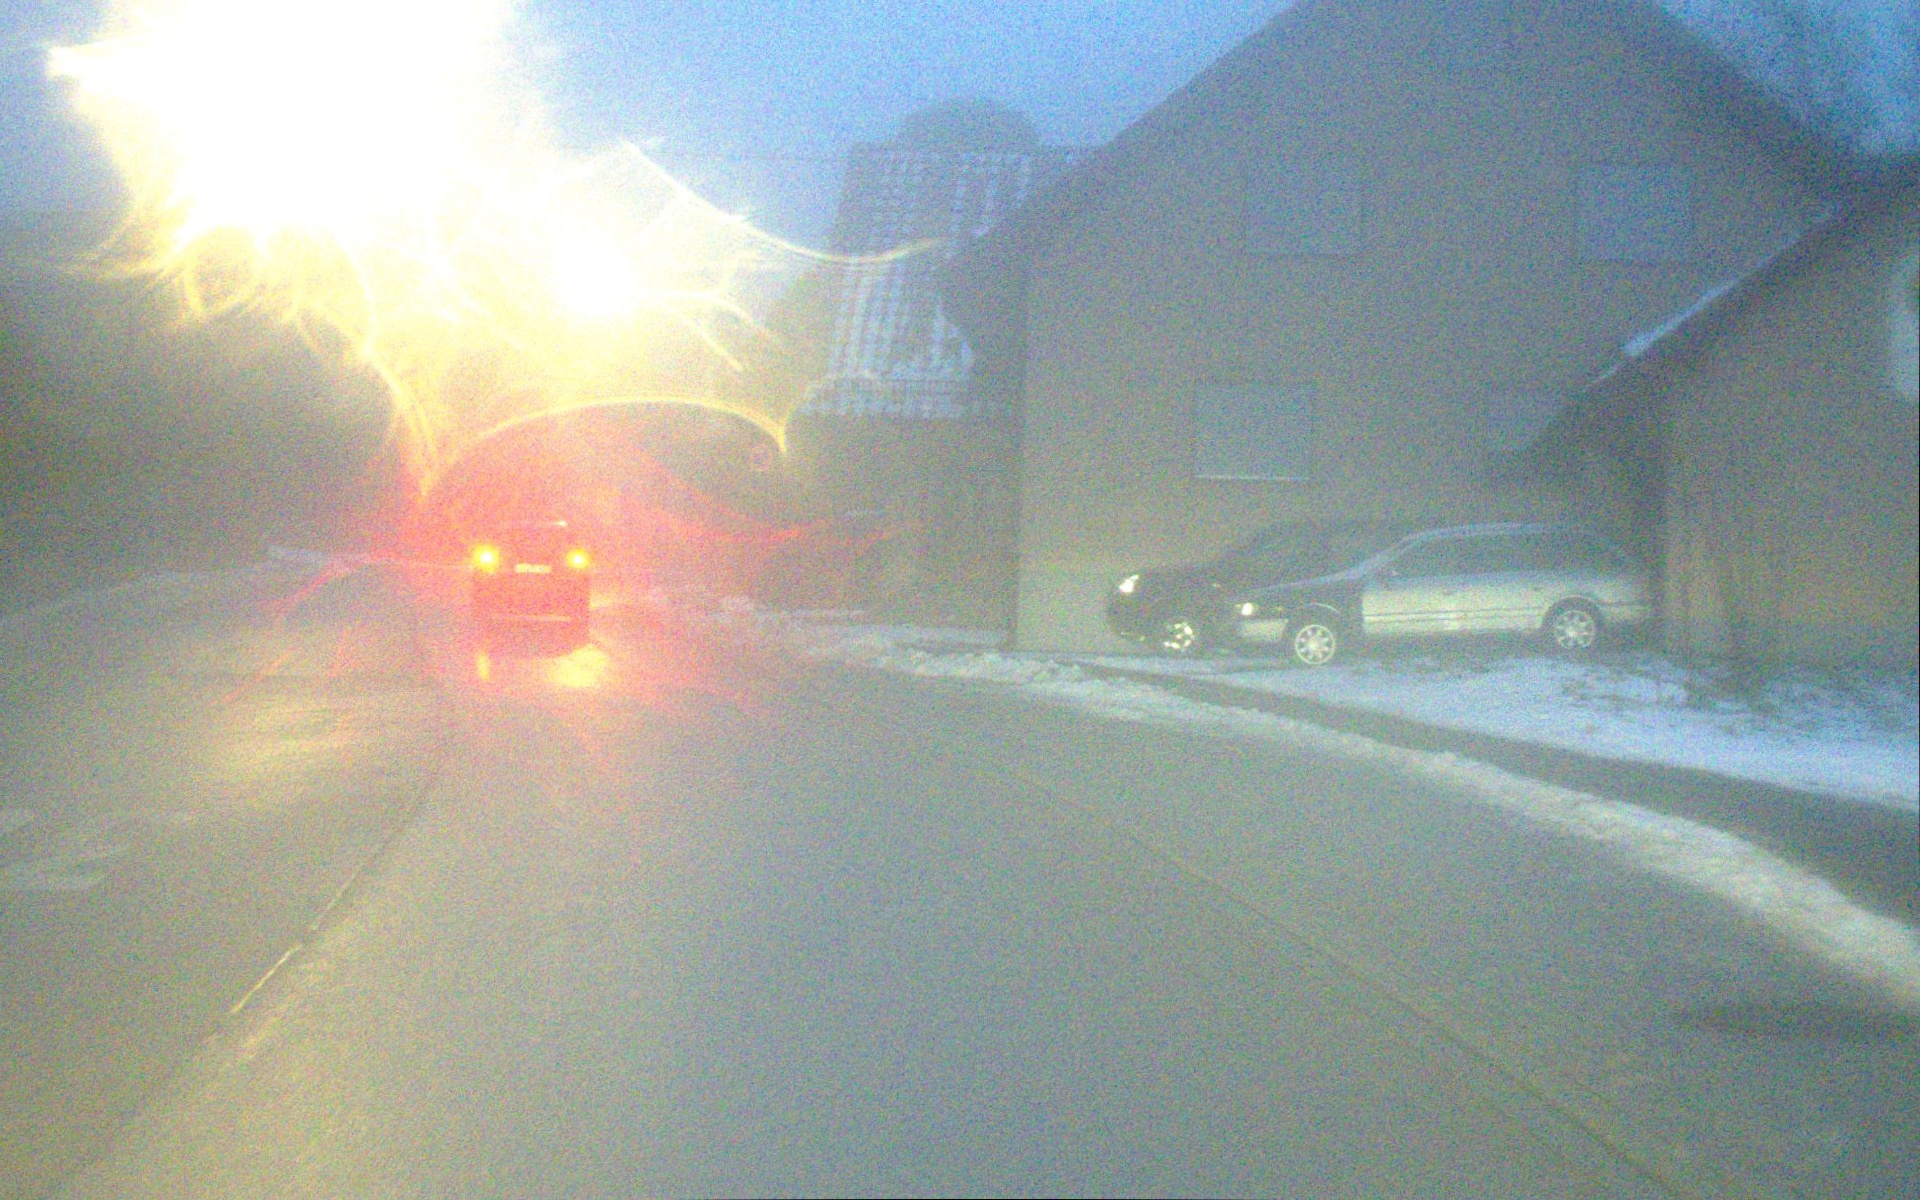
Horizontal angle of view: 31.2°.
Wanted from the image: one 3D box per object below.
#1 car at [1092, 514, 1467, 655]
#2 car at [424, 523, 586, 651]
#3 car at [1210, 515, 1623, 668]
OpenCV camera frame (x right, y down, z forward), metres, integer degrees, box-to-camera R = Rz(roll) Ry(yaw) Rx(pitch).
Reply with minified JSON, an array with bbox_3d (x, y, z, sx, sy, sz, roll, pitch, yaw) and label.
[{"bbox_3d":[3.633,-0.161,39.706,4.158,1.554,1.946,0,-2,1],"label":"car"},{"bbox_3d":[-6.709,-0.152,50.360,1.993,1.731,3.879,0,-2,-13],"label":"car"},{"bbox_3d":[4.824,-0.064,36.664,4.243,1.554,1.999,0,-2,6],"label":"car"}]
